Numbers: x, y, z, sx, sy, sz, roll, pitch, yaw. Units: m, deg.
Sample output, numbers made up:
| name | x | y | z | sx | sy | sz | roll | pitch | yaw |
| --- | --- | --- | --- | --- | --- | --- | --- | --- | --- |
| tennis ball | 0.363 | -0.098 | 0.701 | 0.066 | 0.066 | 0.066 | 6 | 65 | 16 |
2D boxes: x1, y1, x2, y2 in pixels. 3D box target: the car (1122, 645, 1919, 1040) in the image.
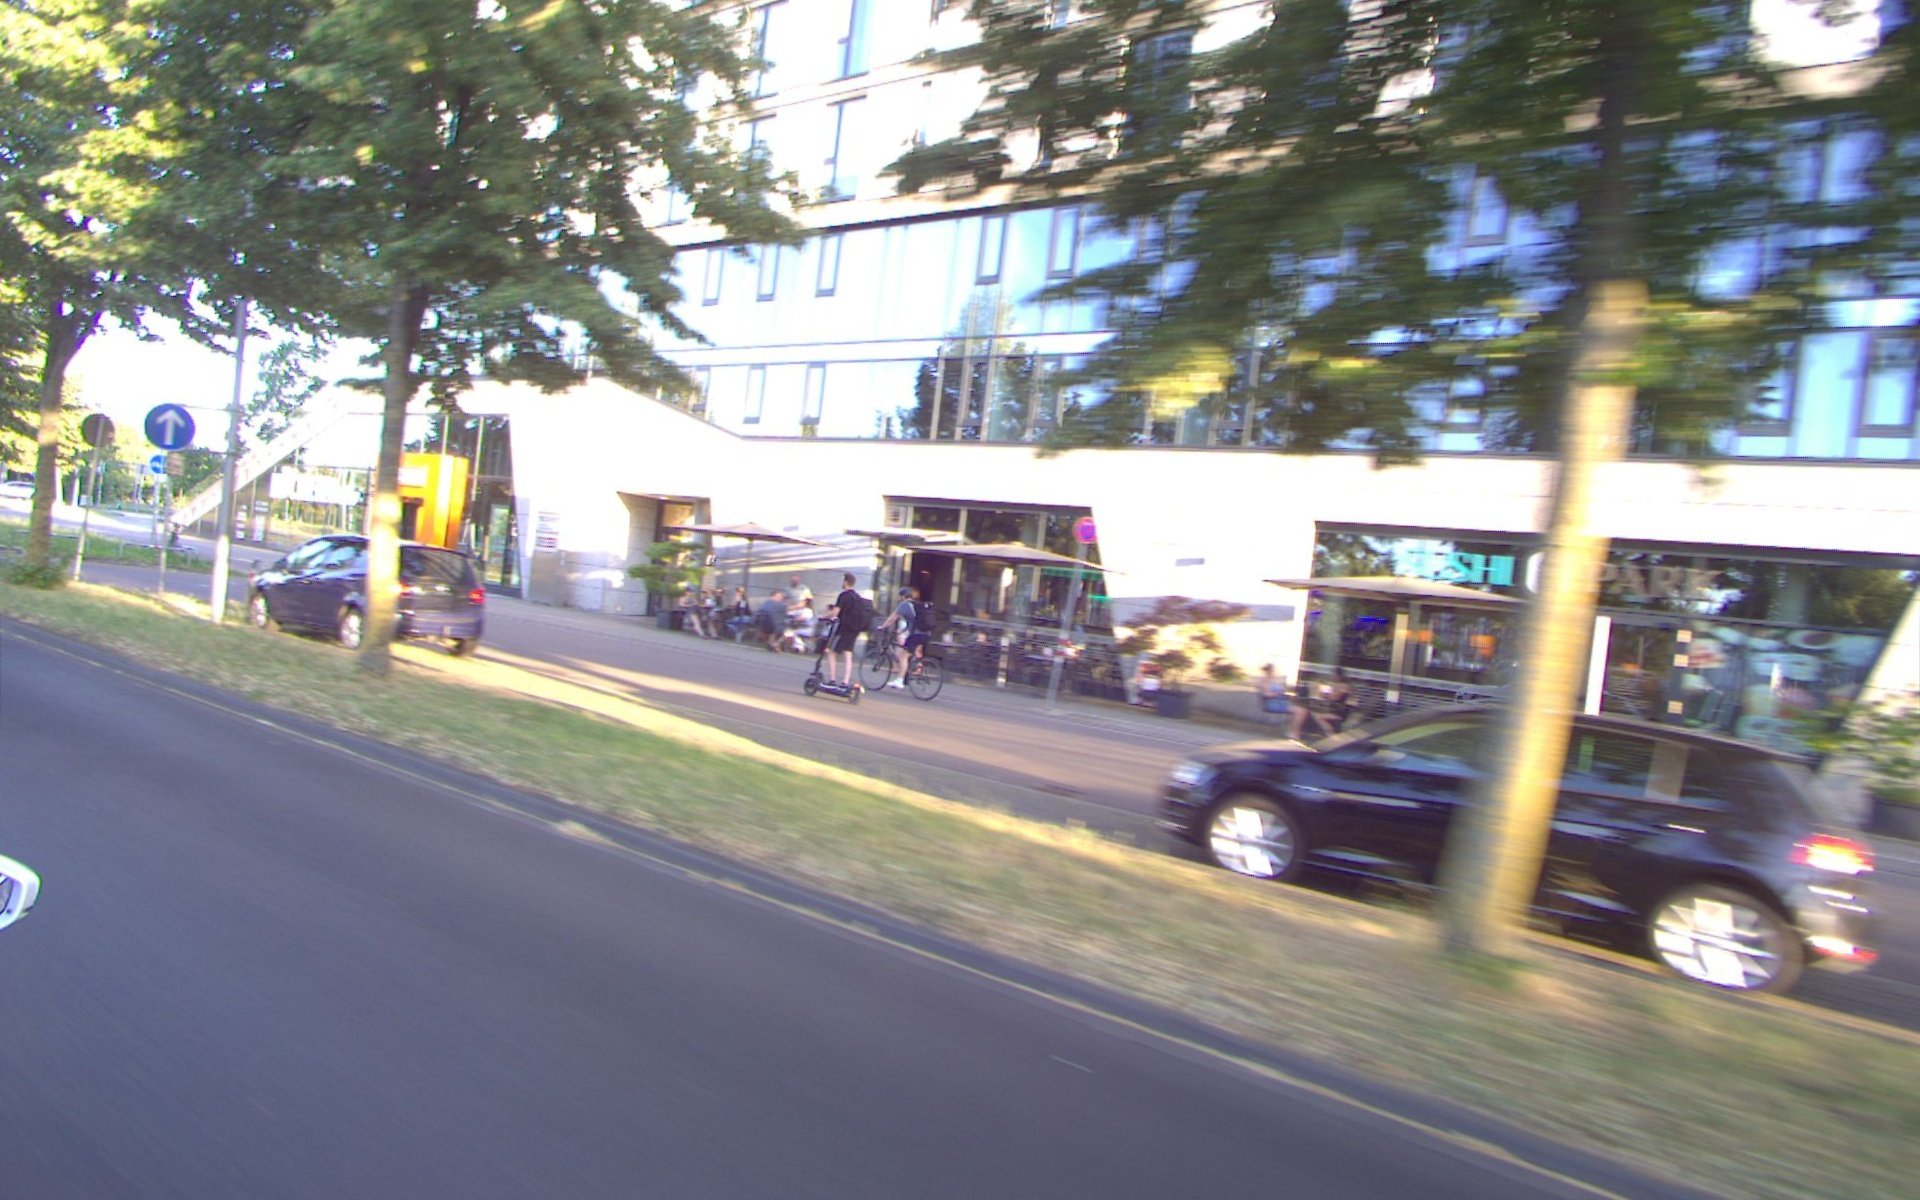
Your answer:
| name | x | y | z | sx | sy | sz | roll | pitch | yaw |
| --- | --- | --- | --- | --- | --- | --- | --- | --- | --- |
| car | 3.496 | 1.346 | 6.951 | 4.216 | 1.490 | 1.780 | 7 | 0 | 31 |

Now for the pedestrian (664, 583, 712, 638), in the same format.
| name | x | y | z | sx | sy | sz | roll | pitch | yaw |
| --- | --- | --- | --- | --- | --- | --- | --- | --- | --- |
| pedestrian | -6.509 | 0.243 | 24.078 | 0.847 | 1.201 | 0.572 | 7 | 1 | 34 |

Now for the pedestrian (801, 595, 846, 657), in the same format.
| name | x | y | z | sx | sy | sz | roll | pitch | yaw |
| --- | --- | --- | --- | --- | --- | --- | --- | --- | --- |
| pedestrian | -3.102 | 0.592 | 22.884 | 0.725 | 1.299 | 0.581 | 7 | 1 | 14 |

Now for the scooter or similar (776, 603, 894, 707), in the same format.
| name | x | y | z | sx | sy | sz | roll | pitch | yaw |
| --- | --- | --- | --- | --- | --- | --- | --- | --- | --- |
| scooter or similar | -1.891 | 0.815 | 15.127 | 1.636 | 1.327 | 0.526 | 7 | 1 | 30 |

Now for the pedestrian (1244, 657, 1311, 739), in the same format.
| name | x | y | z | sx | sy | sz | roll | pitch | yaw |
| --- | --- | --- | --- | --- | --- | --- | --- | --- | --- |
| pedestrian | 5.191 | 1.595 | 16.429 | 0.793 | 1.210 | 0.572 | 7 | 1 | 33 |

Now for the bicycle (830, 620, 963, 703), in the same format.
| name | x | y | z | sx | sy | sz | roll | pitch | yaw |
| --- | --- | --- | --- | --- | --- | --- | --- | --- | --- |
| bicycle | -1.072 | 1.018 | 16.796 | 2.029 | 1.093 | 0.773 | 7 | 1 | 30 |

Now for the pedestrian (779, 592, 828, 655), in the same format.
| name | x | y | z | sx | sy | sz | roll | pitch | yaw |
| --- | --- | --- | --- | --- | --- | --- | --- | --- | --- |
| pedestrian | -3.461 | 0.521 | 22.250 | 0.726 | 1.299 | 0.580 | 7 | 1 | 28 |

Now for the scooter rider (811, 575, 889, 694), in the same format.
| name | x | y | z | sx | sy | sz | roll | pitch | yaw |
| --- | --- | --- | --- | --- | --- | --- | --- | --- | --- |
| scooter rider | -1.638 | 0.508 | 14.983 | 0.818 | 1.659 | 0.526 | 7 | 1 | 30 |

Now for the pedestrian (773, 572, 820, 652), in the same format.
| name | x | y | z | sx | sy | sz | roll | pitch | yaw |
| --- | --- | --- | --- | --- | --- | --- | --- | --- | --- |
| pedestrian | -3.775 | 0.279 | 23.256 | 0.686 | 1.739 | 0.636 | 7 | 1 | 13 |

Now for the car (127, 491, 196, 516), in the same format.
| name | x | y | z | sx | sy | sz | roll | pitch | yaw |
| --- | --- | --- | --- | --- | --- | --- | --- | --- | --- |
| car | -70.328 | -8.498 | 88.631 | 1.891 | 1.504 | 4.419 | 7 | 0 | 42 |

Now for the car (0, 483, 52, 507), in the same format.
| name | x | y | z | sx | sy | sz | roll | pitch | yaw |
| --- | --- | --- | --- | --- | --- | --- | --- | --- | --- |
| car | -77.794 | -8.737 | 82.648 | 4.402 | 1.504 | 1.899 | 8 | 0 | -36 |

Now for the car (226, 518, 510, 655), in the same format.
| name | x | y | z | sx | sy | sz | roll | pitch | yaw |
| --- | --- | --- | --- | --- | --- | --- | --- | --- | --- |
| car | -8.829 | -0.218 | 14.930 | 4.088 | 1.484 | 1.760 | 7 | 0 | 30 |

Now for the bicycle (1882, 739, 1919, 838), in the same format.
| name | x | y | z | sx | sy | sz | roll | pitch | yaw |
| --- | --- | --- | --- | --- | --- | --- | --- | --- | --- |
| bicycle | 13.248 | 2.564 | 12.699 | 2.228 | 1.223 | 0.469 | 7 | 1 | 36 |

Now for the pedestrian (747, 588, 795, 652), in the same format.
| name | x | y | z | sx | sy | sz | roll | pitch | yaw |
| --- | --- | --- | --- | --- | --- | --- | --- | --- | --- |
| pedestrian | -4.105 | 0.431 | 21.830 | 0.703 | 1.299 | 0.628 | 7 | 1 | 11 |

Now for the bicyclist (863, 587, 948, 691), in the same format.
| name | x | y | z | sx | sy | sz | roll | pitch | yaw |
| --- | --- | --- | --- | --- | --- | --- | --- | --- | --- |
| bicyclist | -0.898 | 0.648 | 16.721 | 0.975 | 1.586 | 0.773 | 7 | 1 | 30 |

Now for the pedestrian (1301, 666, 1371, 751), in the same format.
| name | x | y | z | sx | sy | sz | roll | pitch | yaw |
| --- | --- | --- | --- | --- | --- | --- | --- | --- | --- |
| pedestrian | 5.950 | 1.698 | 15.906 | 0.794 | 1.210 | 0.572 | 7 | 1 | 34 |

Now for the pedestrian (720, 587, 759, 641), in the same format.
| name | x | y | z | sx | sy | sz | roll | pitch | yaw |
| --- | --- | --- | --- | --- | --- | --- | --- | --- | --- |
| pedestrian | -5.277 | 0.323 | 24.111 | 0.708 | 1.201 | 0.614 | 7 | 1 | -5 |

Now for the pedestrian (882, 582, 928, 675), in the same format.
| name | x | y | z | sx | sy | sz | roll | pitch | yaw |
| --- | --- | --- | --- | --- | --- | --- | --- | --- | --- |
| pedestrian | -1.100 | 0.568 | 20.256 | 0.676 | 1.759 | 0.705 | 7 | 1 | 2 |
